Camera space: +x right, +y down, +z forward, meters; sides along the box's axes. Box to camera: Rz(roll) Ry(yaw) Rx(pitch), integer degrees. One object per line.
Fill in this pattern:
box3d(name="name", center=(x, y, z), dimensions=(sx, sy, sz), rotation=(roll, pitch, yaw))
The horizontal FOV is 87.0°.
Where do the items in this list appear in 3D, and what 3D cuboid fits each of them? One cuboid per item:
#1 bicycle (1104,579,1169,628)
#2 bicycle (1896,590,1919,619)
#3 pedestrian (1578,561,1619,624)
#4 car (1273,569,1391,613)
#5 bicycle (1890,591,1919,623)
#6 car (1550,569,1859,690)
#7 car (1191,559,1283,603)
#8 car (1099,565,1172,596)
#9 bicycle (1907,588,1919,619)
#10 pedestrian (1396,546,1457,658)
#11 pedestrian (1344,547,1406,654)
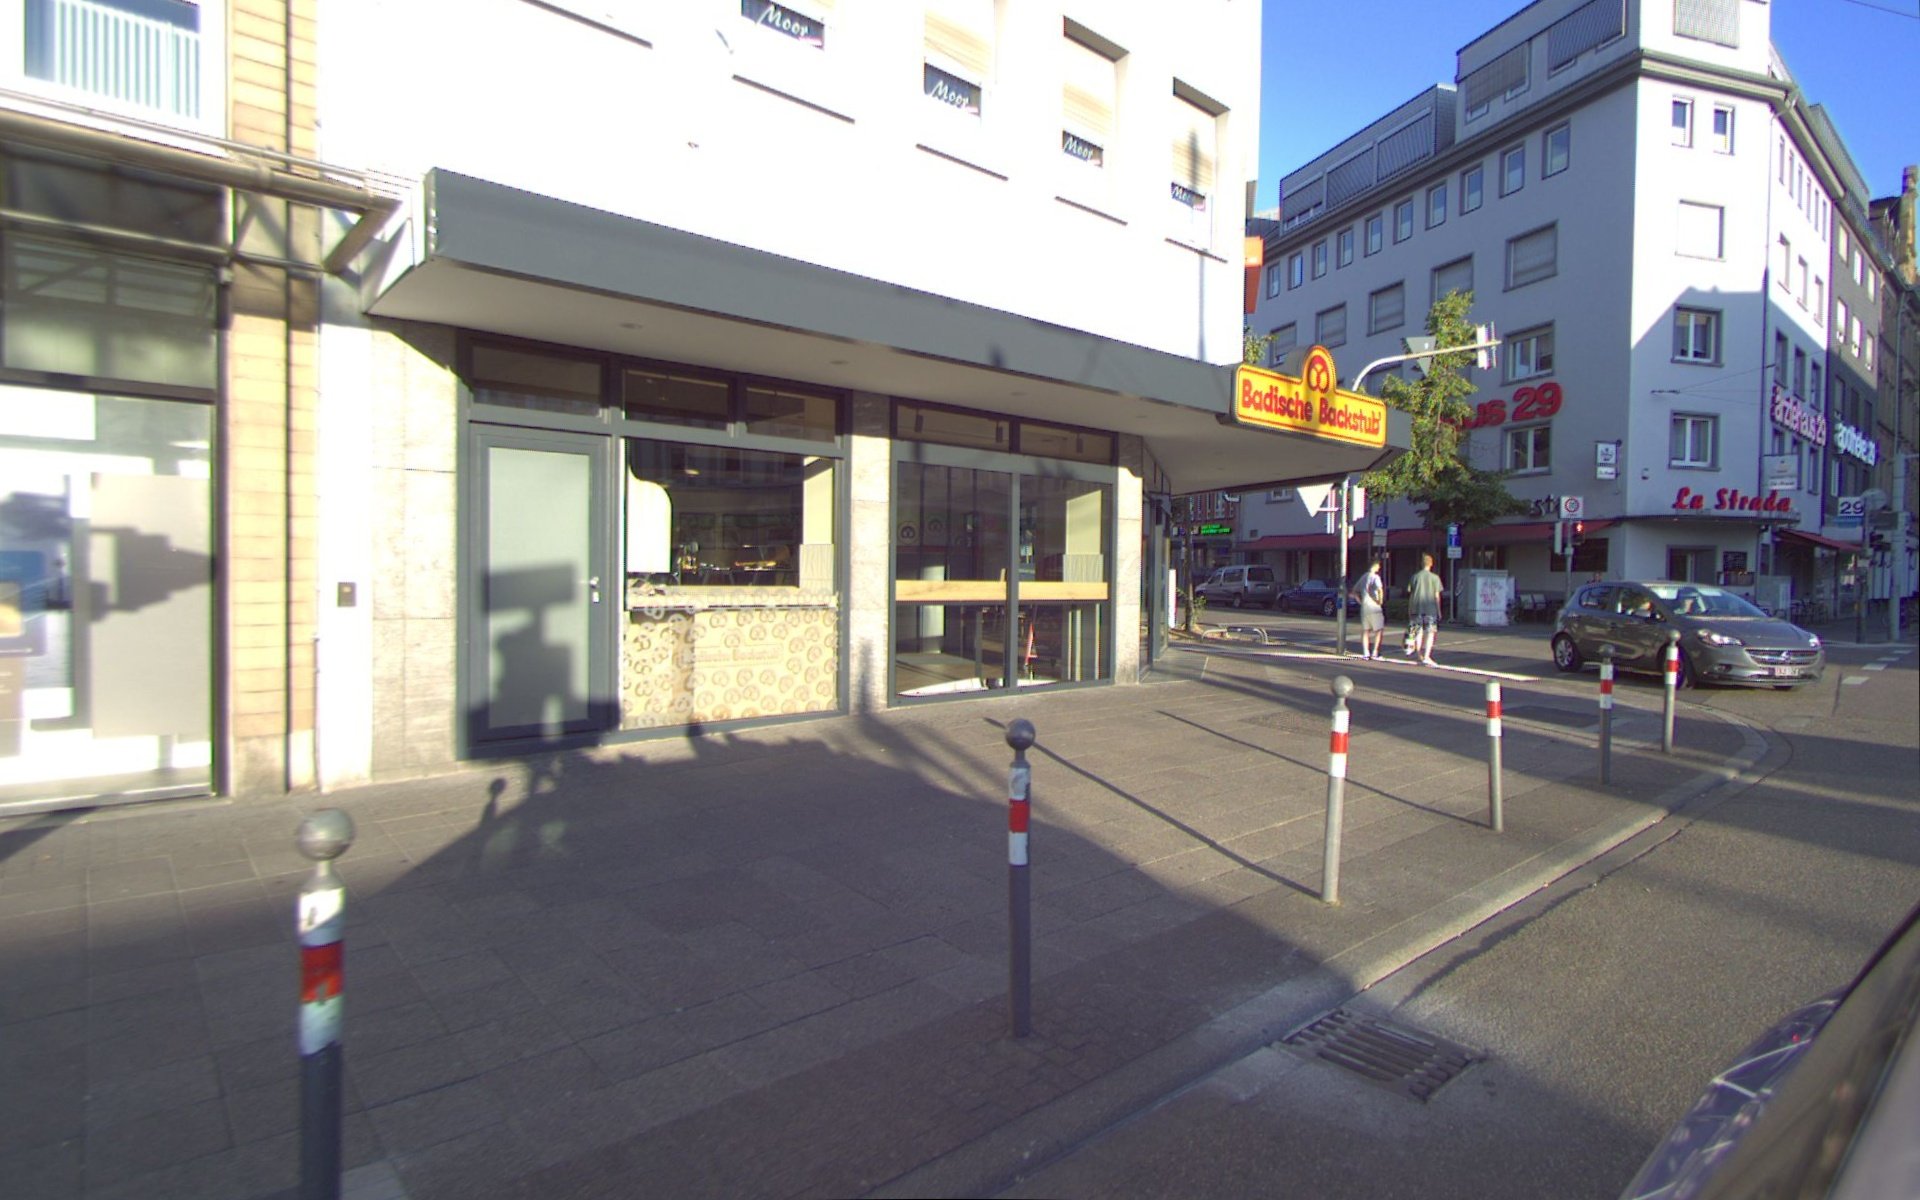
box3d(name="bicycle", center=(4.498, 0.069, 25.809), dimensions=(1.627, 1.209, 0.478), rotation=(-1, 1, -22))
box3d(name="bicycle", center=(33.651, 0.192, 35.059), dimensions=(1.757, 0.960, 0.437), rotation=(4, 5, 44))
box3d(name="pedestrian", center=(17.239, -0.217, 27.347), dimensions=(0.577, 1.676, 0.798), rotation=(-1, 2, -44))
box3d(name="car", center=(13.249, -0.356, 36.344), dimensions=(1.619, 1.369, 4.323), rotation=(0, 3, -18))
box3d(name="bicycle", center=(32.501, 0.243, 34.022), dimensions=(1.823, 1.044, 0.437), rotation=(2, 2, 44))
box3d(name="car", center=(10.403, 0.311, 14.540), dimensions=(1.558, 1.471, 3.844), rotation=(0, 2, 0))
box3d(name="car", center=(11.486, -0.846, 42.232), dimensions=(1.684, 1.684, 4.010), rotation=(-2, 3, -20))
box3d(name="car", center=(8.813, -1.020, 51.214), dimensions=(1.767, 1.410, 4.429), rotation=(0, 3, -18))
box3d(name="bicycle", center=(34.766, 0.150, 35.823), dimensions=(1.757, 1.083, 0.437), rotation=(4, 5, 44))
box3d(name="pedestrian", center=(7.723, 0.017, 16.760), dimensions=(0.747, 1.795, 0.578), rotation=(2, 2, 42))
box3d(name="pedestrian", center=(7.183, -0.010, 17.528), dimensions=(0.628, 1.795, 0.749), rotation=(0, 2, -38))
